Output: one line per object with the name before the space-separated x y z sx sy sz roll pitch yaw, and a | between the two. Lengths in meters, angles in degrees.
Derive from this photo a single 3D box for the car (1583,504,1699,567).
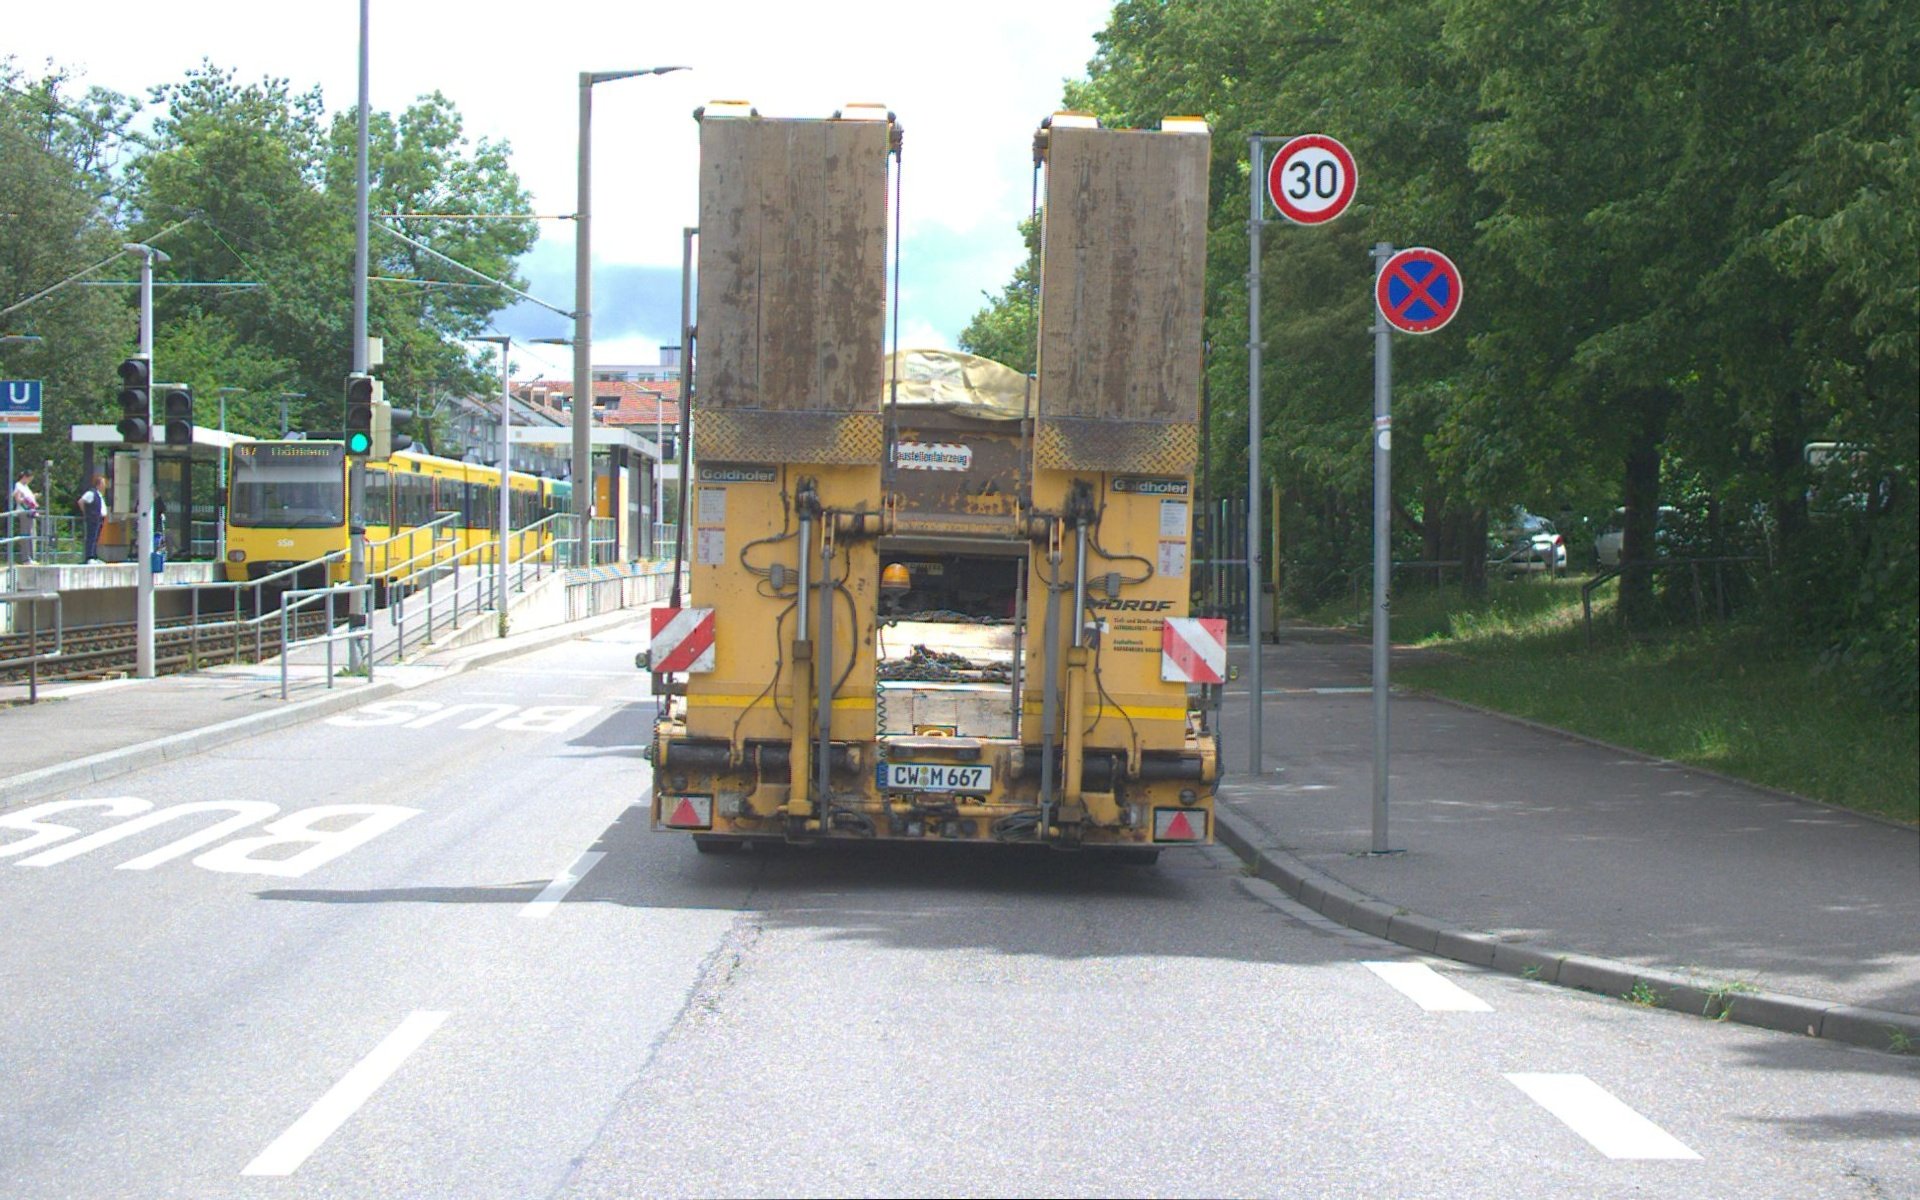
car | 15.987 -1.509 80.909 1.841 1.415 4.124 -1 1 -1

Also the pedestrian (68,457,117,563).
pedestrian | -16.743 -1.733 66.363 0.712 2.007 0.732 2 1 -3

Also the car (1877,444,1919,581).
car | 11.426 -0.998 37.463 1.626 1.509 4.139 -3 1 -1

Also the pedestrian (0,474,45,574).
pedestrian | -16.776 -1.359 61.509 0.584 1.771 0.576 2 1 -1

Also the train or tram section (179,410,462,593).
train or tram section | -13.920 -2.077 76.926 3.108 3.453 18.827 2 1 -1

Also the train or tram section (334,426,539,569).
train or tram section | -14.314 -2.724 95.805 3.108 3.453 18.998 2 1 -1

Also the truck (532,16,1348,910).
truck | -0.502 -0.681 21.390 3.402 3.719 13.741 1 1 -4

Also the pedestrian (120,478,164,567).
pedestrian | -15.998 -1.520 67.241 0.639 1.701 0.646 2 1 -1
